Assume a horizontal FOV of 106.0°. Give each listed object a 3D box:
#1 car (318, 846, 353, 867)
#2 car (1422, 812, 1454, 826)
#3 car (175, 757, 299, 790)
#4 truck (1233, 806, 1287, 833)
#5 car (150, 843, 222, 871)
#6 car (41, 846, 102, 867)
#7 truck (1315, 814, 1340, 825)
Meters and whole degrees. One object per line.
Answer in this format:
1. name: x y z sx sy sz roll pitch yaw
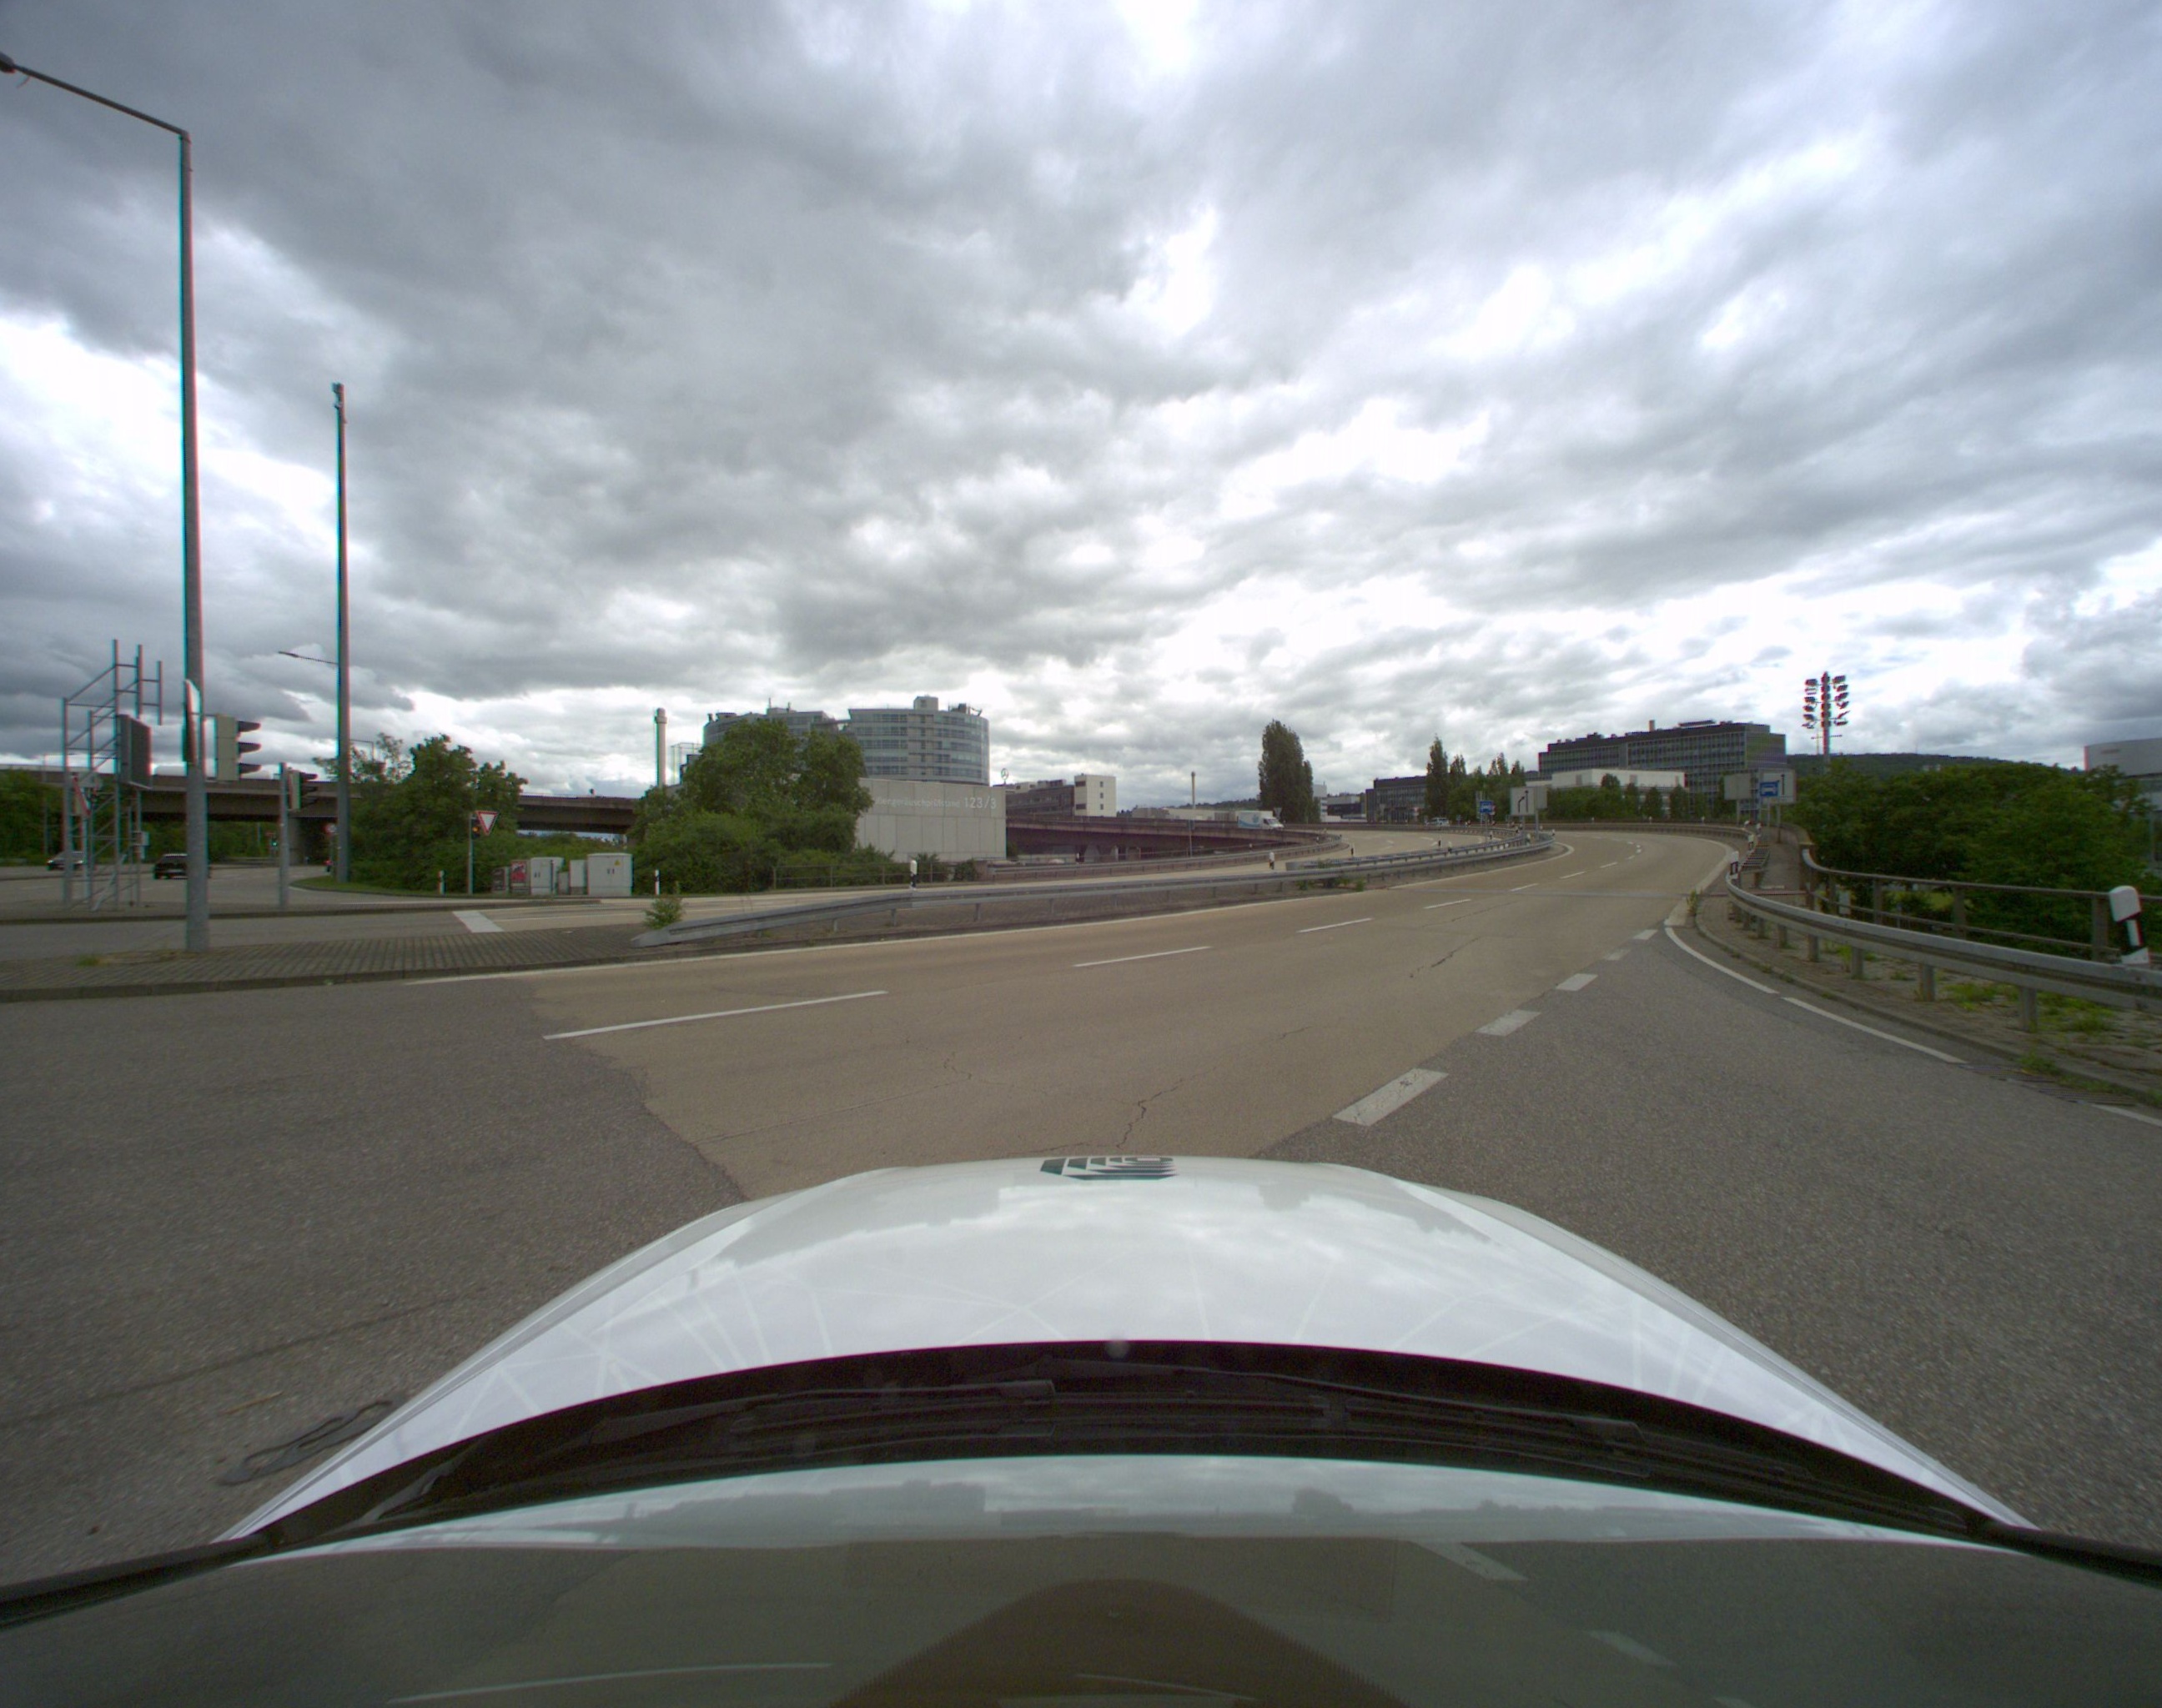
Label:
1. car: -66.759 0.180 72.973 1.924 1.662 4.693 5 -2 -39
2. car: 47.535 -4.609 108.560 1.723 1.737 4.543 0 0 -8
3. car: -115.977 -10.957 112.148 11.162 3.031 3.467 5 -1 -21
4. truck: 23.580 -4.485 107.417 2.339 3.269 7.271 2 -1 -34
5. car: -51.562 0.181 46.999 1.923 1.421 3.950 4 -2 -36
6. car: -77.656 0.166 62.707 1.876 1.383 3.827 4 -1 -36
7. truck: 57.476 -8.044 190.130 5.649 2.164 1.984 2 -1 -25
